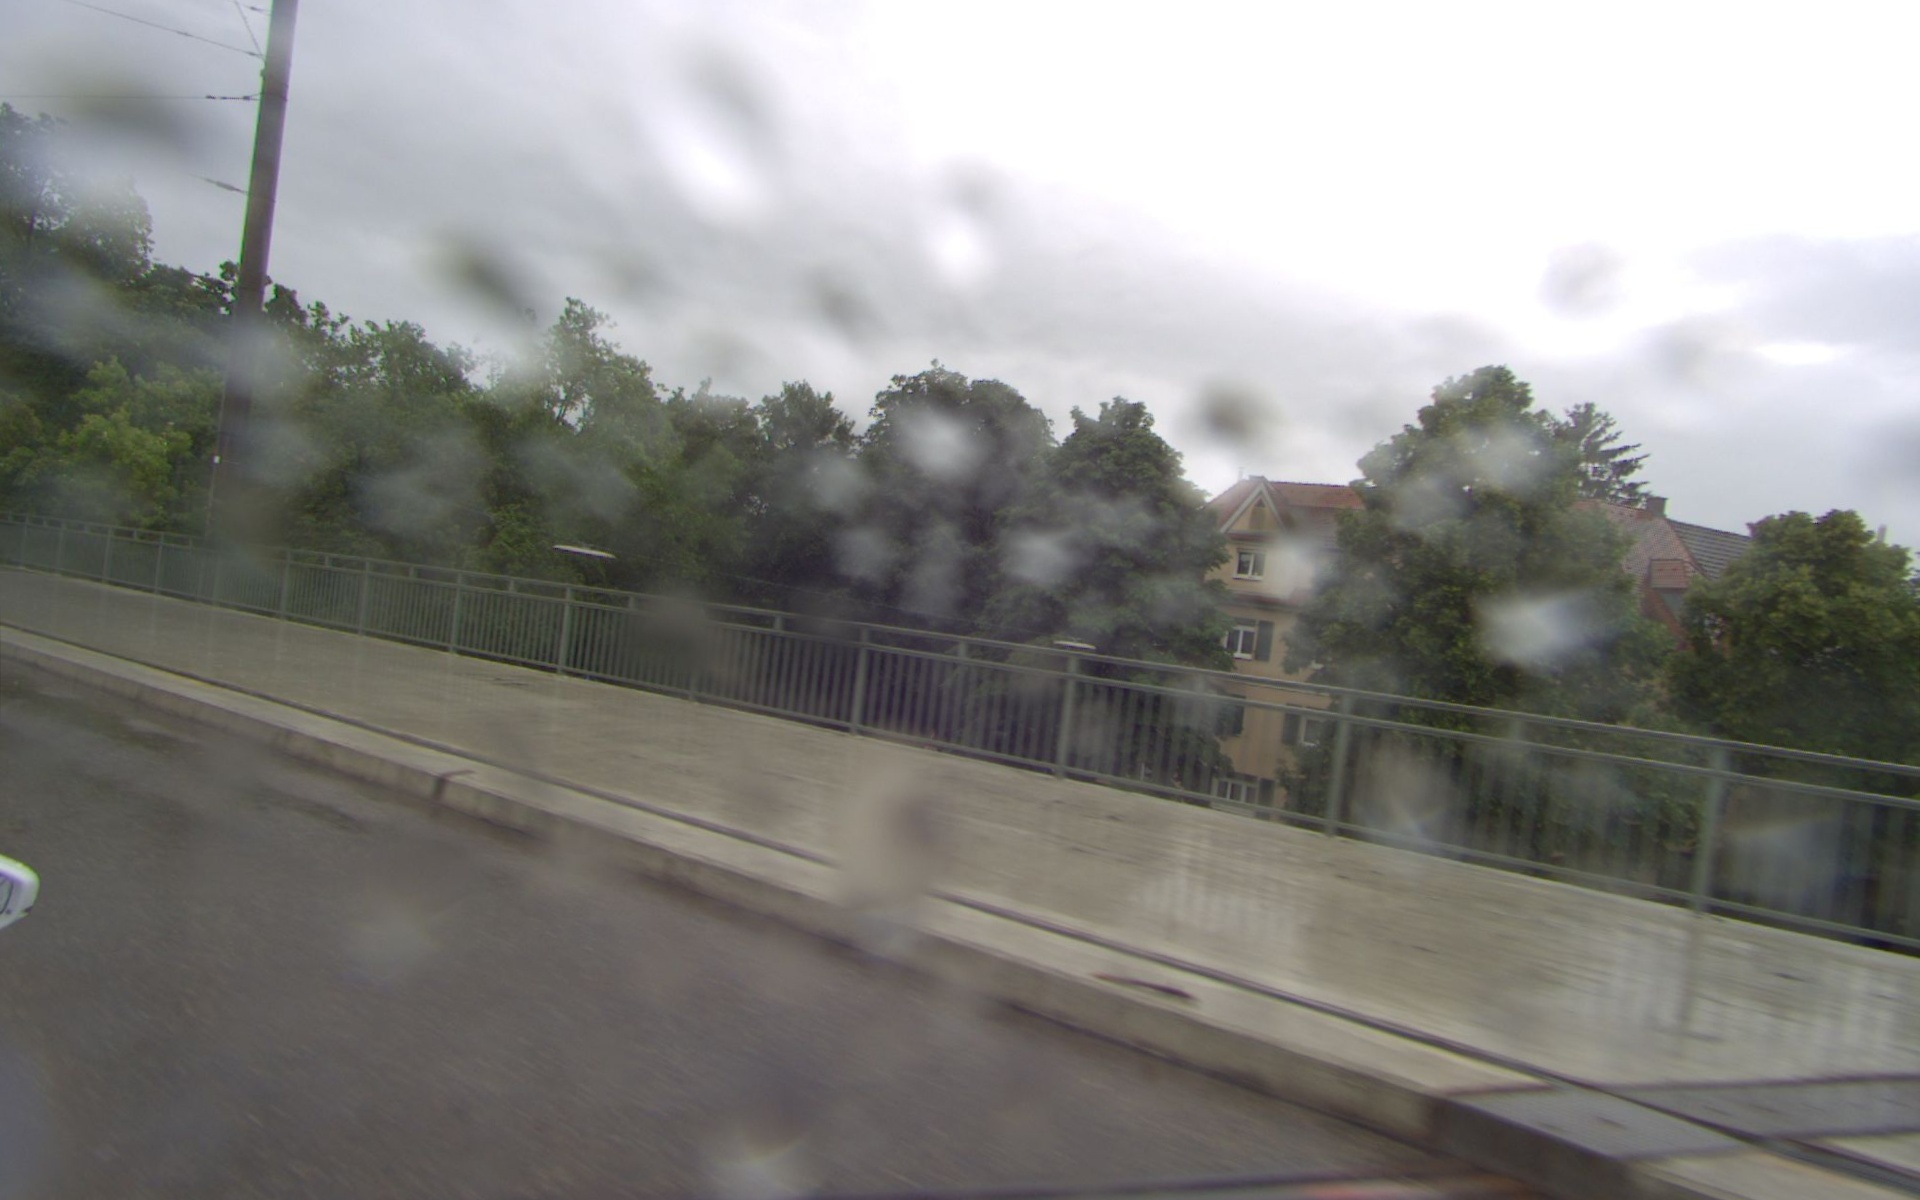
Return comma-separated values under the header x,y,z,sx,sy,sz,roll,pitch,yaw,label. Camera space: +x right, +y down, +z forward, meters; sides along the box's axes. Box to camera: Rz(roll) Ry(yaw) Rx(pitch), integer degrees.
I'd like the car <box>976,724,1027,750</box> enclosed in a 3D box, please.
x,y,z,sx,sy,sz,roll,pitch,yaw,label
2.961,9.571,70.551,1.815,1.436,3.998,7,-2,29,car

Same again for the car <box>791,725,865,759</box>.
x,y,z,sx,sy,sz,roll,pitch,yaw,label
-7.011,7.552,53.688,1.815,1.436,3.999,7,-2,28,car

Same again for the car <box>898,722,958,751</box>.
x,y,z,sx,sy,sz,roll,pitch,yaw,label
-1.983,8.540,63.087,1.815,1.436,3.998,7,-2,29,car
